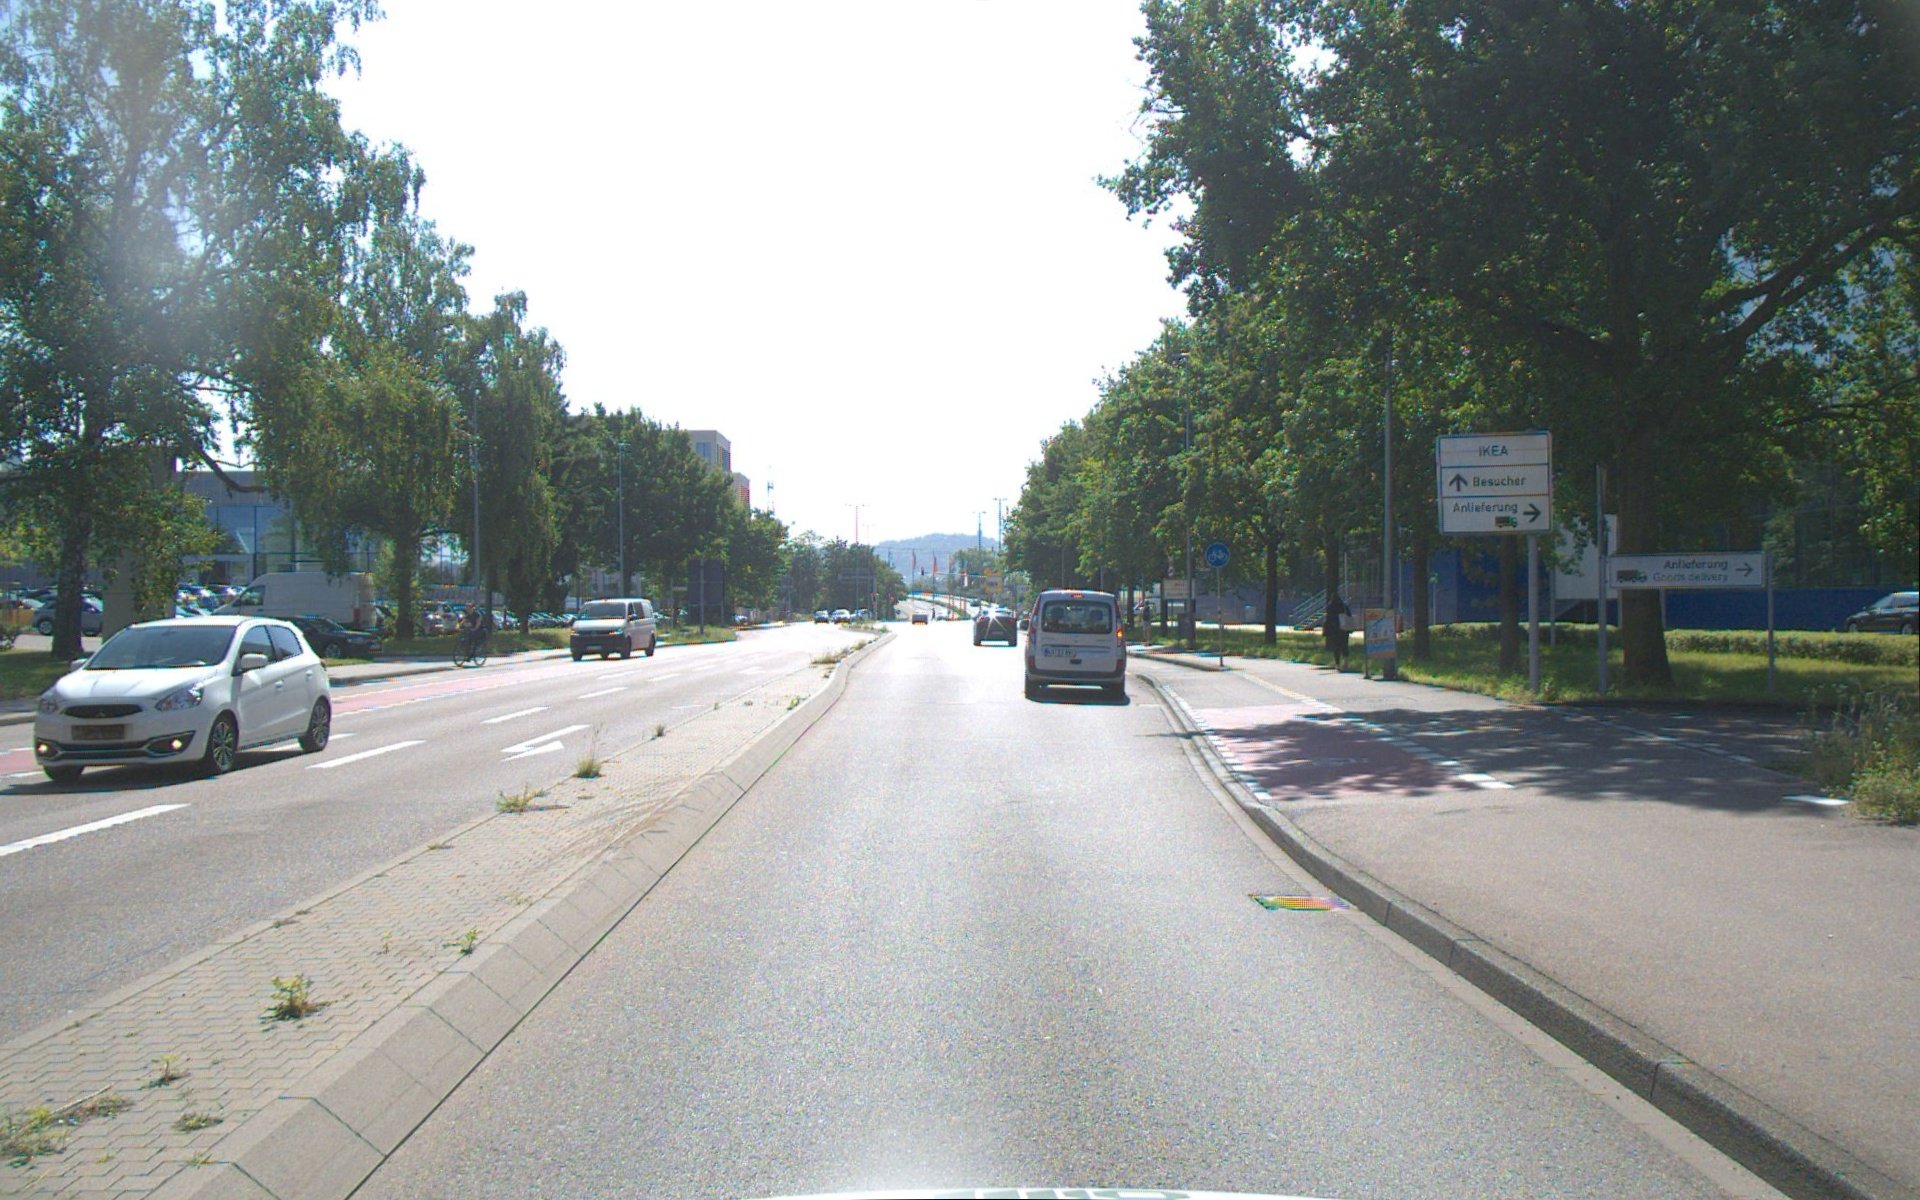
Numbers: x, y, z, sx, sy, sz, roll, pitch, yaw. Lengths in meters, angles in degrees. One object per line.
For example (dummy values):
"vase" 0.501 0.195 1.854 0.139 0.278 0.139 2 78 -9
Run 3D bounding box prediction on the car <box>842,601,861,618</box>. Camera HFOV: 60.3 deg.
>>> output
"car" -13.303 1.166 203.537 1.952 2.048 4.001 2 1 1

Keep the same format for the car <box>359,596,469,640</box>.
"car" -24.133 0.787 73.178 4.177 1.917 1.954 0 -1 1

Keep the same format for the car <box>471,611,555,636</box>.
"car" -25.477 1.354 94.359 4.177 1.374 1.954 0 -1 1

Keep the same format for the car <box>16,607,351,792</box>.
"car" -7.652 0.898 16.721 1.609 1.520 3.828 -2 1 -1

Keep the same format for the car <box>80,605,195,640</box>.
"car" -34.966 0.942 70.385 4.003 1.464 1.743 0 0 0

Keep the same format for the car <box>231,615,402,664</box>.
"car" -19.986 1.213 51.471 4.566 1.438 2.001 -1 -1 7

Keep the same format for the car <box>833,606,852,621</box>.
"car" -13.078 1.513 184.394 1.804 1.489 4.999 -3 0 -1

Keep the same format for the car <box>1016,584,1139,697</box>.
"car" 2.015 0.691 29.451 1.866 1.861 4.179 0 -1 0

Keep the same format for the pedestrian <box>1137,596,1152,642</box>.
"pedestrian" 7.575 0.769 67.869 0.524 1.874 0.727 0 -1 -1

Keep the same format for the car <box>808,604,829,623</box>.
"car" -16.262 1.557 190.396 1.952 2.048 4.001 2 1 1

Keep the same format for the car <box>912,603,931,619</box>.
"car" -4.278 1.267 184.641 1.953 1.713 4.000 -1 0 0

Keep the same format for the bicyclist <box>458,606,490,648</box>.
"bicyclist" -14.576 0.804 49.618 0.620 1.249 0.951 -1 0 4

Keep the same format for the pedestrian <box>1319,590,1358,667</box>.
"pedestrian" 8.134 0.614 35.536 0.633 1.631 0.846 0 -1 0

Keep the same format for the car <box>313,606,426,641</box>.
"car" -24.145 0.962 67.716 4.001 1.378 1.744 0 -1 5

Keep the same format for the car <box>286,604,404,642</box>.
"car" -24.350 0.889 65.568 4.001 1.464 1.744 0 0 5

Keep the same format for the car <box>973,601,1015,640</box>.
"car" 1.552 0.916 73.871 1.769 1.668 4.460 -1 0 2

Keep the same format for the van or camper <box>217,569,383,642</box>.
"van or camper" -24.412 0.184 61.357 5.271 2.513 1.999 2 1 -3

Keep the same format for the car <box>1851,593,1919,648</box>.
"car" 27.993 0.577 48.042 1.866 1.547 4.374 0 -1 0

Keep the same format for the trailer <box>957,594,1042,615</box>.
"trailer" 5.456 0.643 230.343 11.630 2.512 2.000 2 1 -1

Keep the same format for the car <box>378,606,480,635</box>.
"car" -25.124 0.966 78.358 4.177 1.351 1.954 0 -1 1

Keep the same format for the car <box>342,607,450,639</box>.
"car" -24.048 0.967 70.652 4.002 1.316 1.744 0 -1 1

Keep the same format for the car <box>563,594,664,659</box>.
"car" -11.622 0.858 55.928 1.952 2.049 5.349 -1 0 4

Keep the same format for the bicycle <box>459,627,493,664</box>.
"bicycle" -14.510 1.352 49.611 0.436 1.045 1.616 -1 0 4

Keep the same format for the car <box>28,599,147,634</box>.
"car" -35.652 0.688 67.622 4.001 1.378 1.744 -1 -1 5
